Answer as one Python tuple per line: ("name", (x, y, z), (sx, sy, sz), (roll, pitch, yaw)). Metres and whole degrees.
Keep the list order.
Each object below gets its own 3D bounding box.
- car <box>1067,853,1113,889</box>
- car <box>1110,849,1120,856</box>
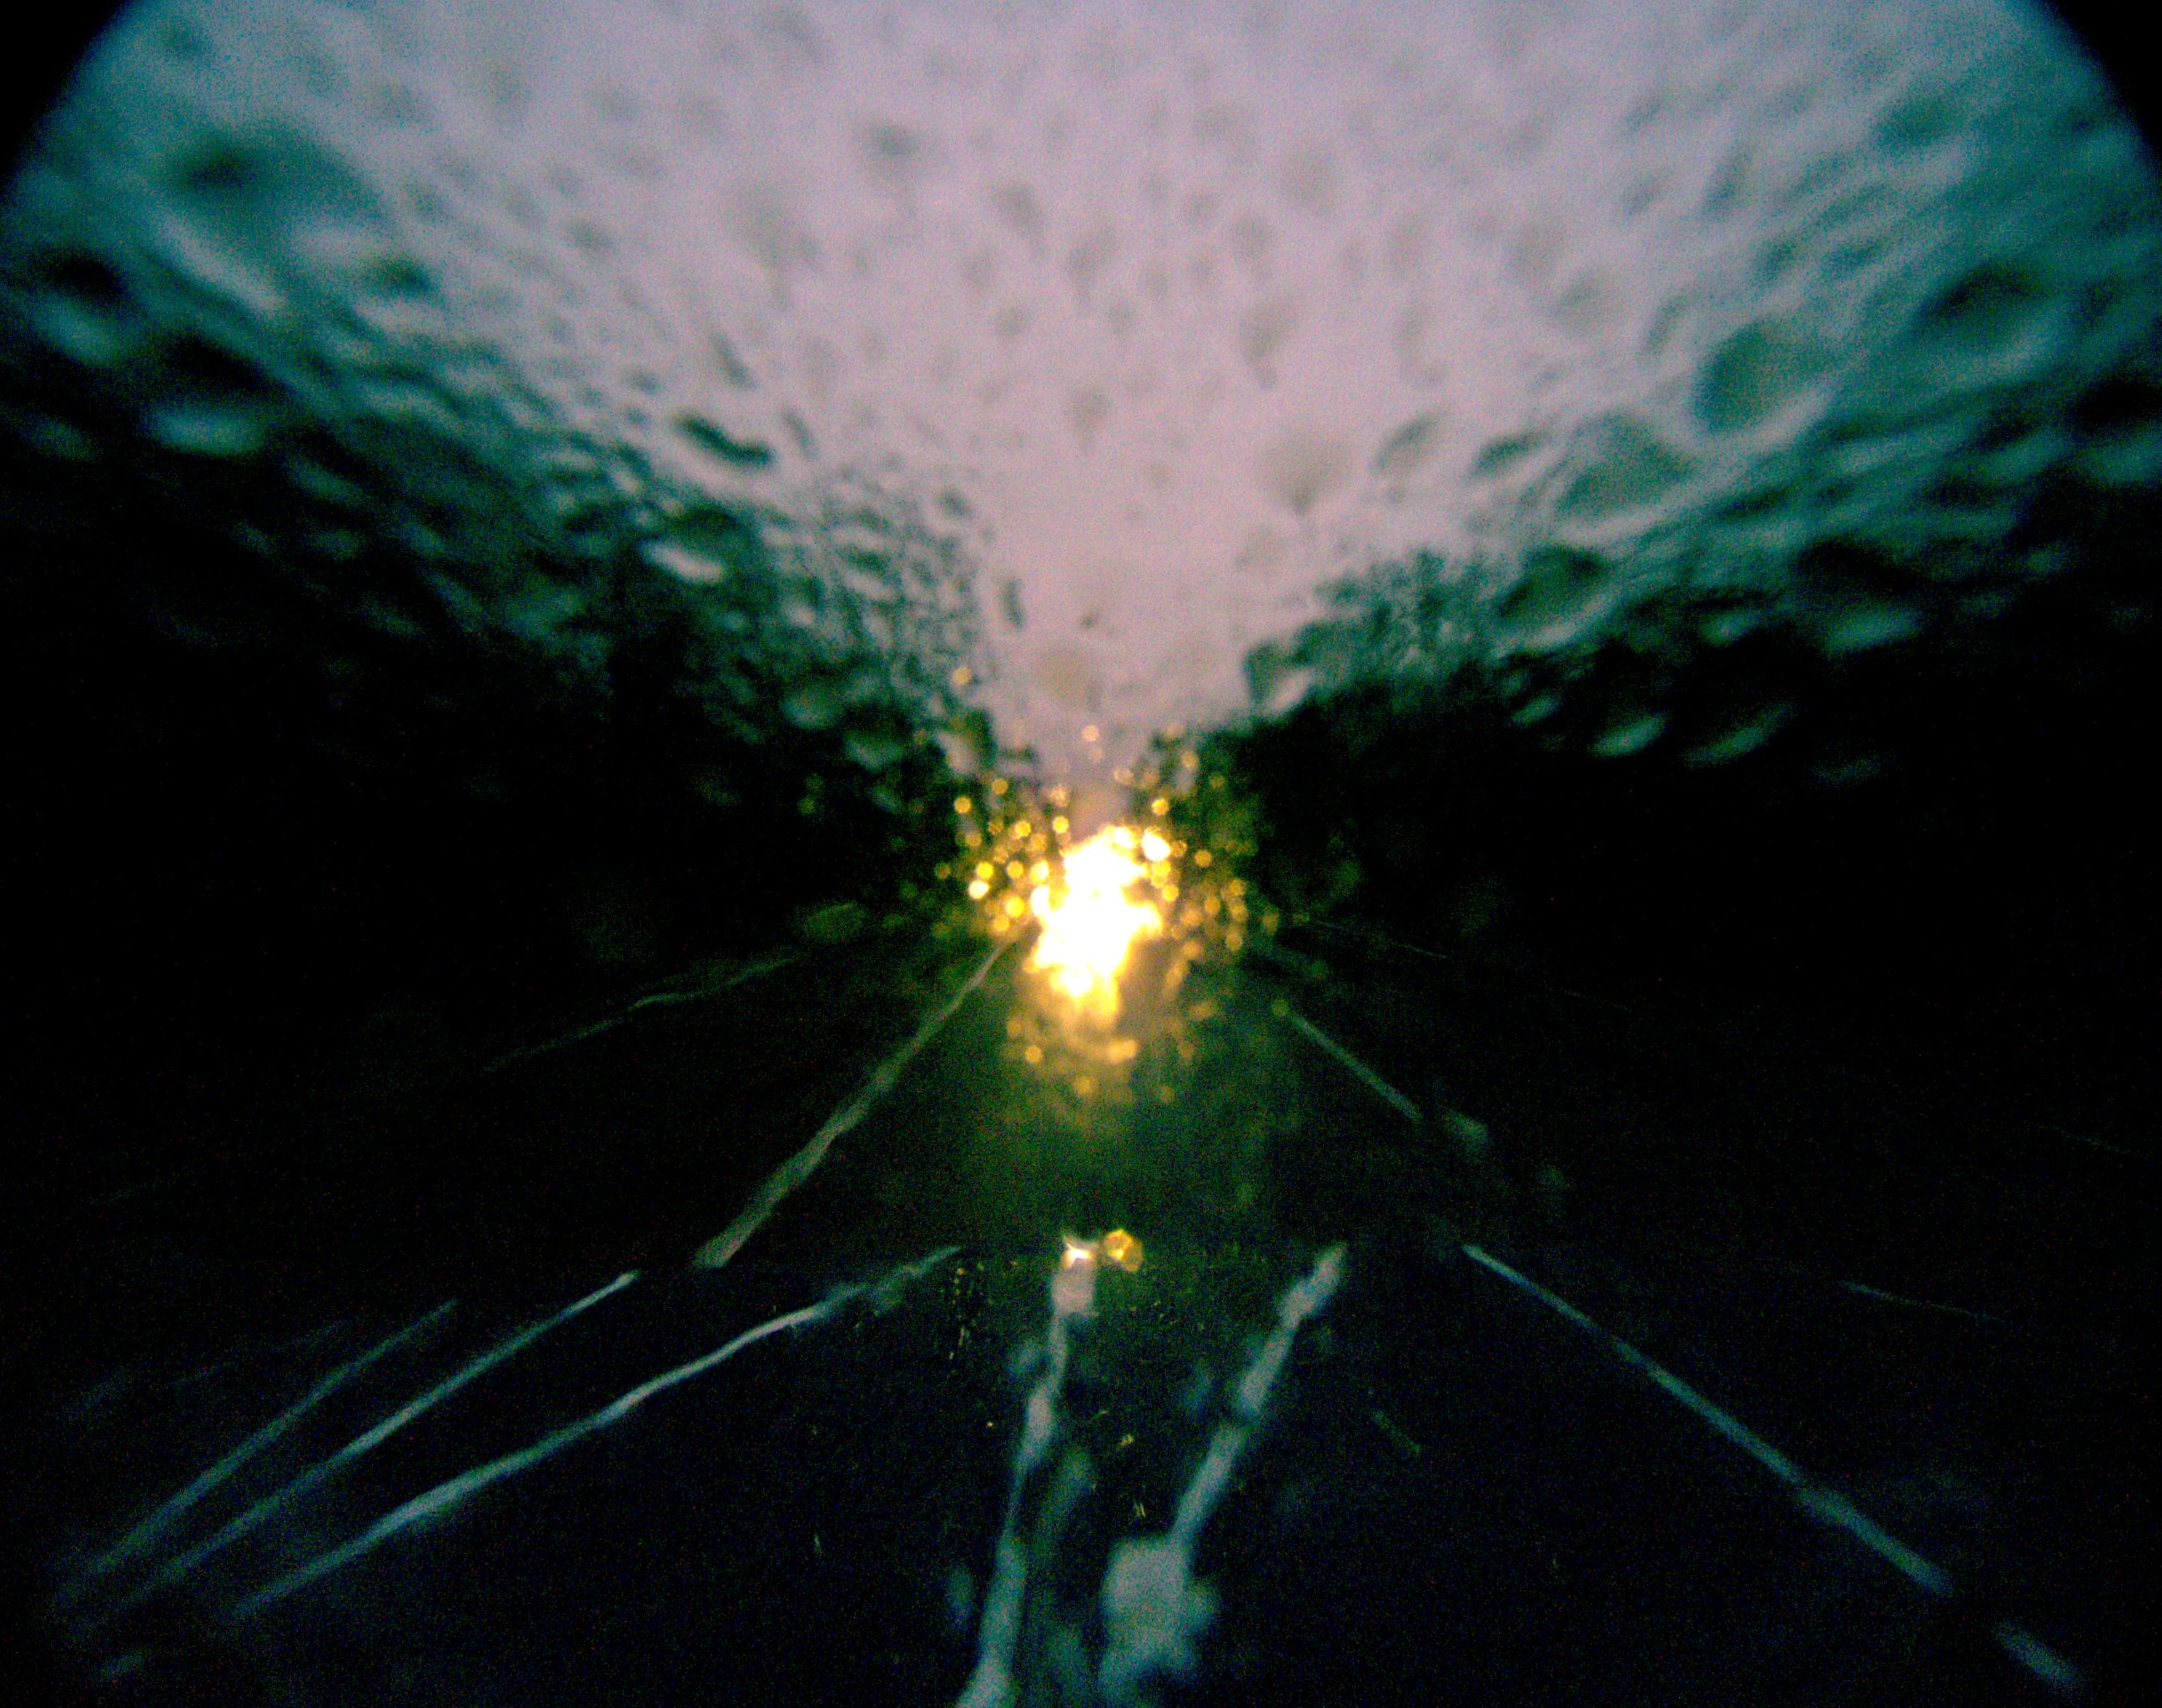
("car", (0.415, 0.697, 33.187), (1.845, 1.390, 4.000), (-1, 1, 1))
("car", (6.473, -0.283, 145.880), (1.623, 1.381, 4.071), (0, 0, 0))
